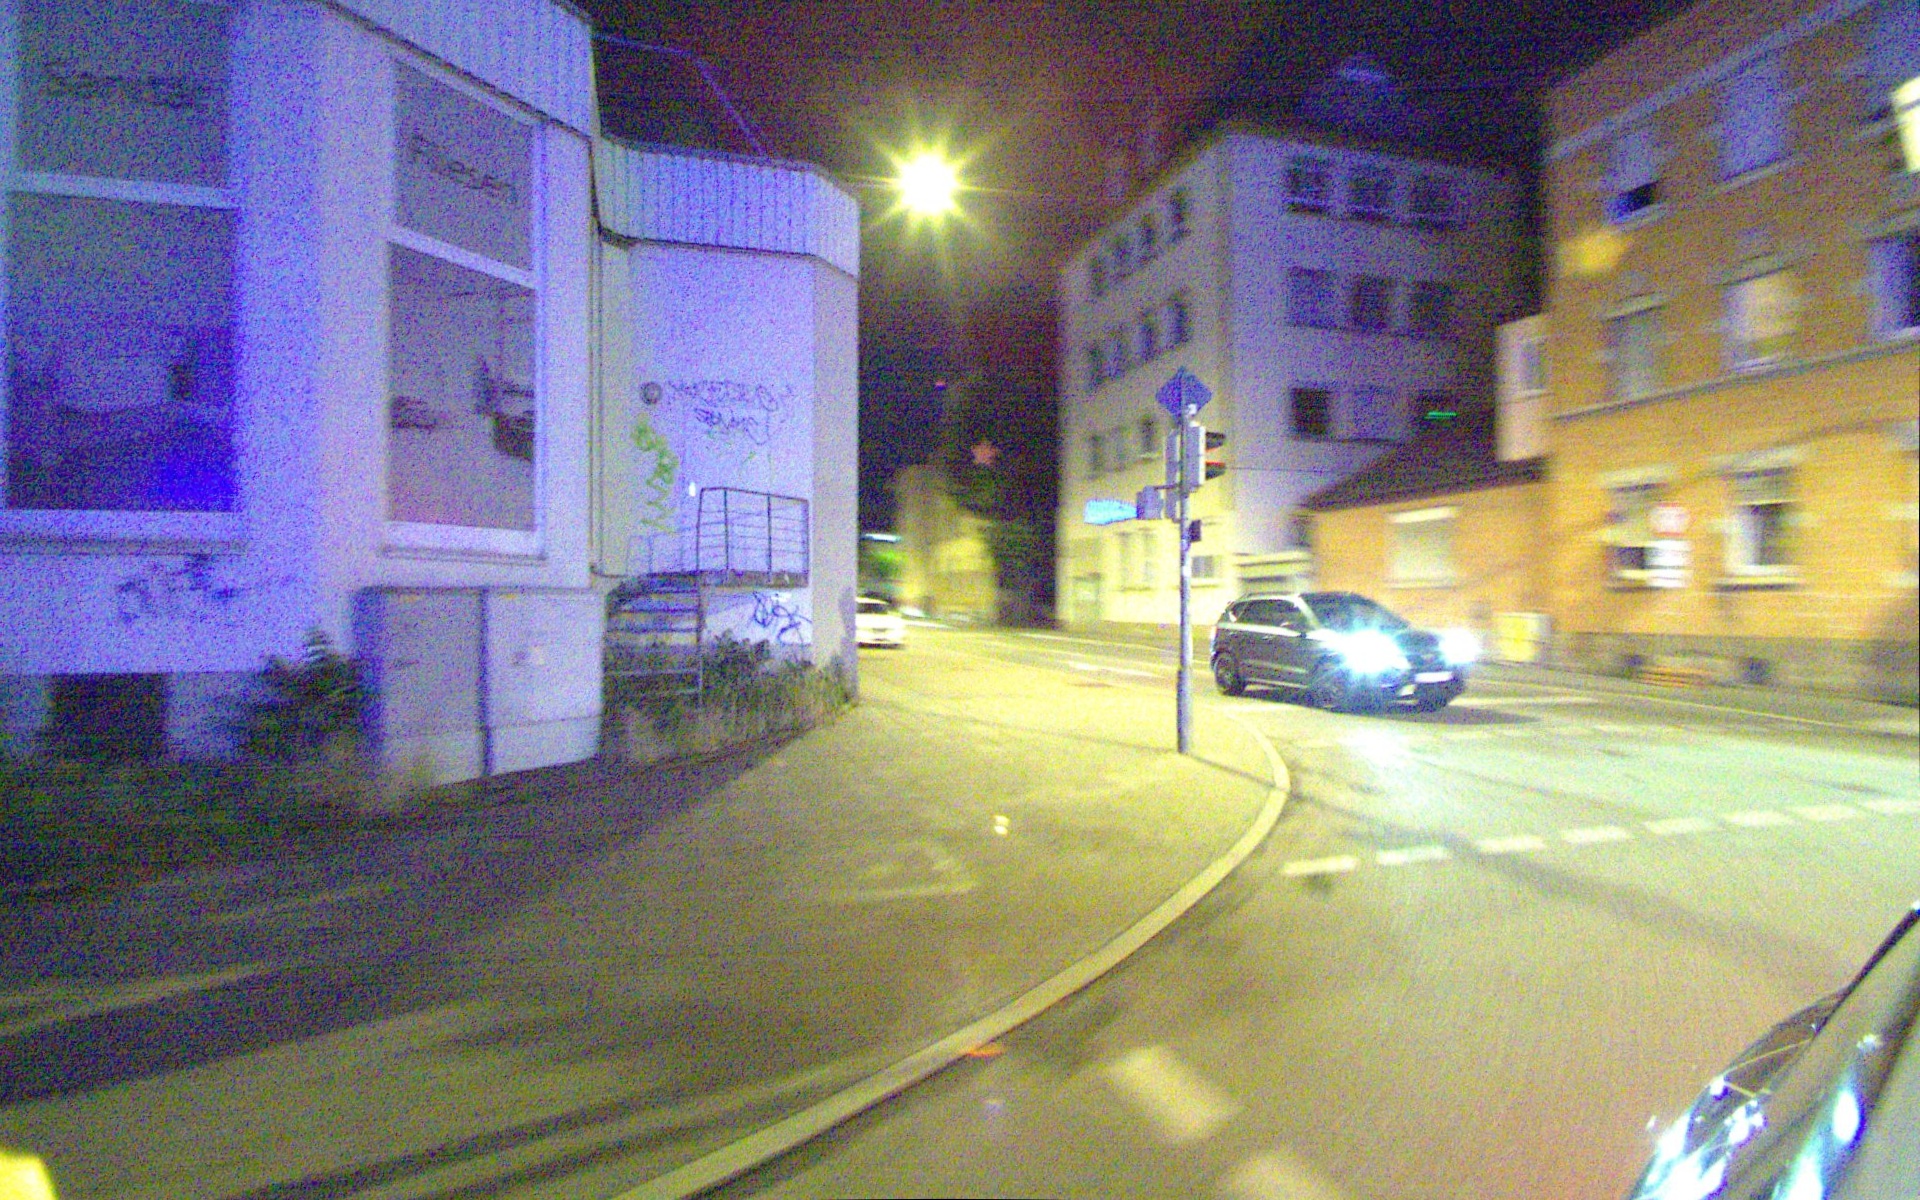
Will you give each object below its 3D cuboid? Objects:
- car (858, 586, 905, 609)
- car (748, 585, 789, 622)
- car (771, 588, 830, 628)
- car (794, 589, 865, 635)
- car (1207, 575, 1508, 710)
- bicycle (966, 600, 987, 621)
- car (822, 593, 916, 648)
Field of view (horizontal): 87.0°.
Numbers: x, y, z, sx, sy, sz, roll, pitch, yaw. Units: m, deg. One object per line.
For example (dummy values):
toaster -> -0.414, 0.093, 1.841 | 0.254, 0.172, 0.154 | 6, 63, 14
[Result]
car -> -6.666, -0.194, 86.408 | 3.921, 1.913, 1.910 | 0, 0, -3
car -> -10.758, 0.198, 56.607 | 1.768, 1.899, 4.783 | 2, -1, -16
car -> -7.000, 0.360, 44.146 | 1.791, 1.643, 4.466 | 1, 0, -18
car -> -4.895, 0.377, 37.394 | 1.743, 1.563, 4.556 | 0, 1, -19
car -> 5.462, 0.518, 14.519 | 1.958, 1.636, 4.008 | 1, 0, -17
bicycle -> 0.862, 0.524, 52.546 | 0.608, 1.065, 1.725 | 0, 1, -16
car -> -2.868, 0.569, 31.011 | 1.827, 1.507, 4.556 | 0, 1, -19
